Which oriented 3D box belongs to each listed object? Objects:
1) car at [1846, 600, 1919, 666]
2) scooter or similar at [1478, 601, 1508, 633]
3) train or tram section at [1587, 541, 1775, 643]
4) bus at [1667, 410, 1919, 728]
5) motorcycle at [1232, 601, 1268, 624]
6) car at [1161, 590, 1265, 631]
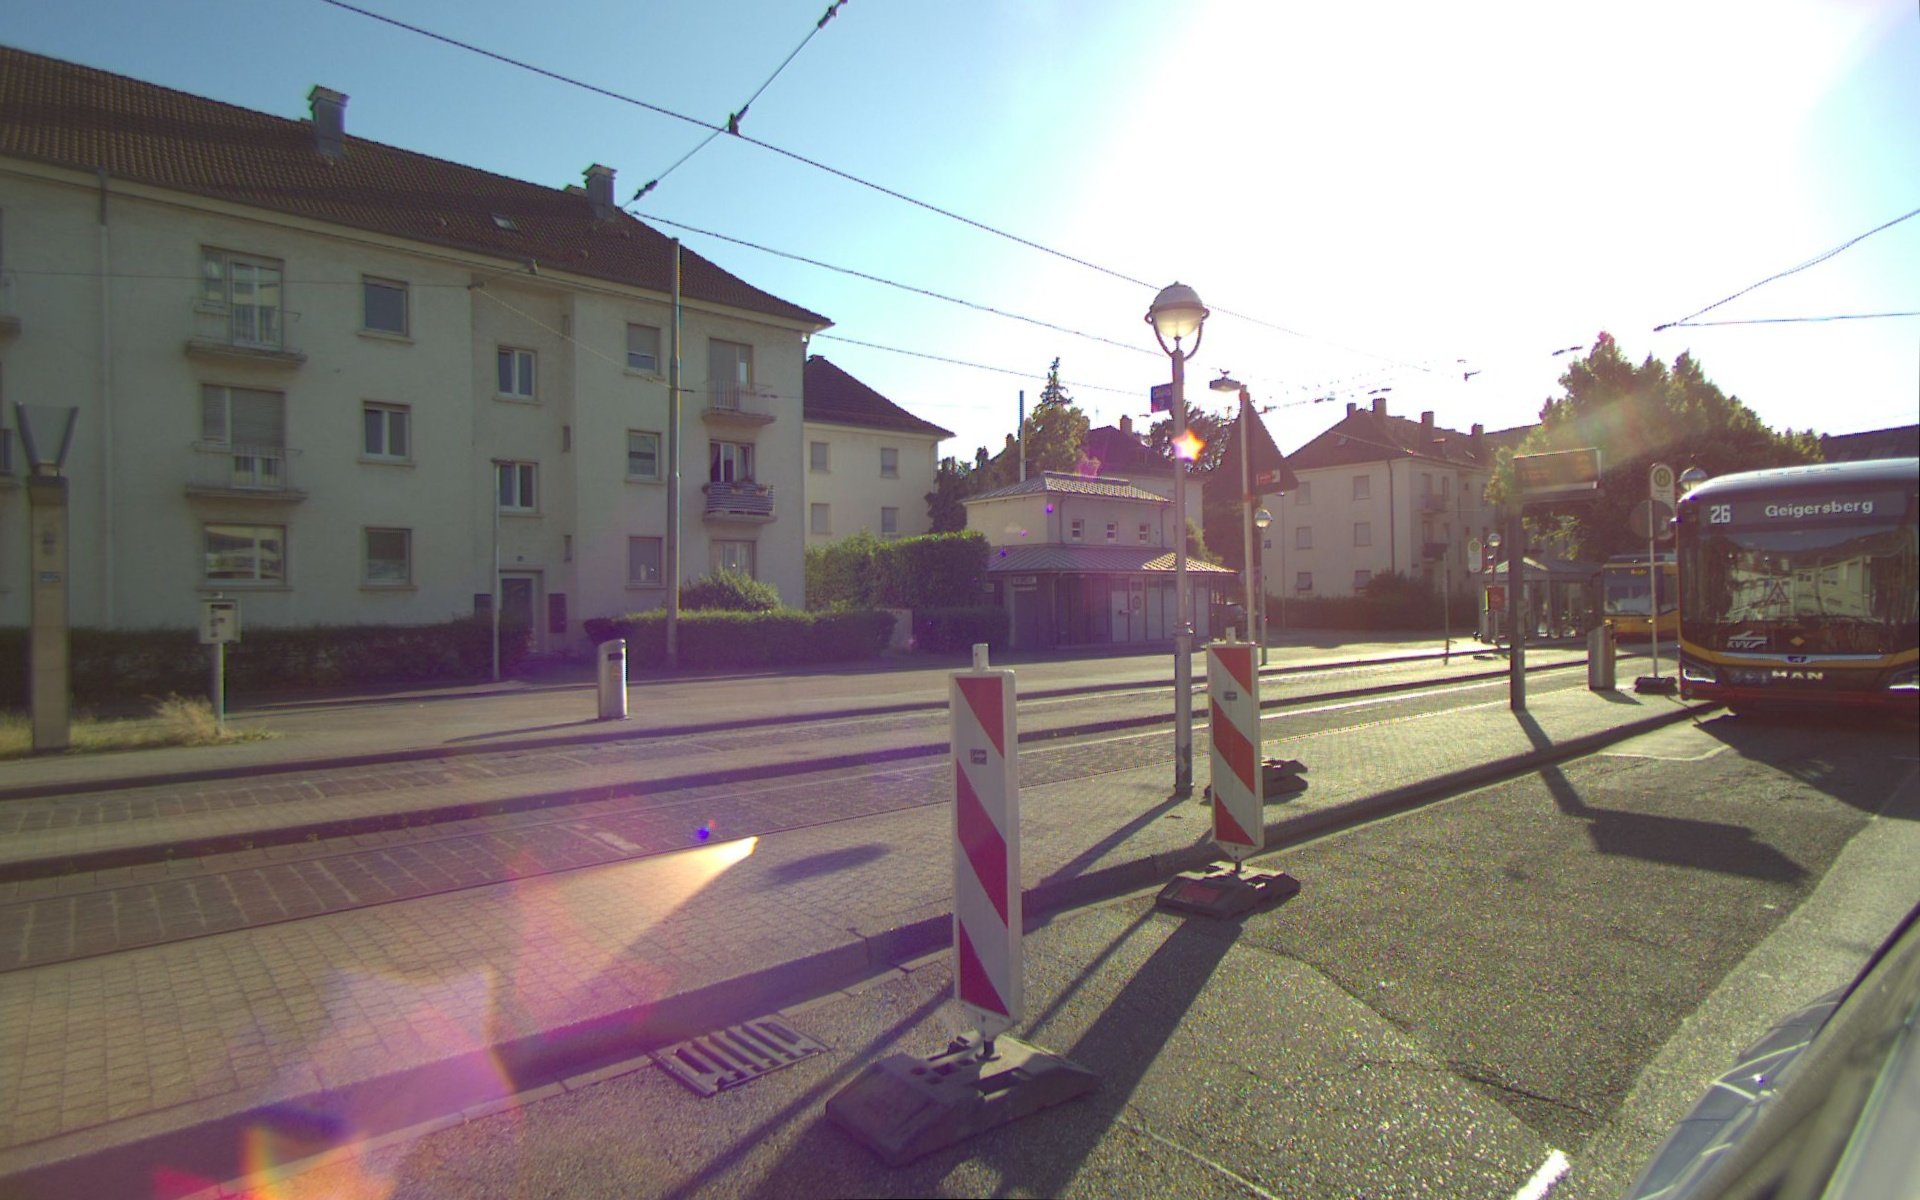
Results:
[{"bbox_3d":[26.252,0.869,28.080,3.930,1.695,1.997,0,0,-41],"label":"car"},{"bbox_3d":[20.710,0.647,39.292,1.185,1.223,0.468,-1,0,-30],"label":"scooter or similar"},{"bbox_3d":[30.080,-0.511,41.665,15.698,3.578,2.961,-2,2,-42],"label":"train or tram section"},{"bbox_3d":[14.240,-0.361,15.697,11.810,3.460,2.692,0,0,-42],"label":"bus"},{"bbox_3d":[15.749,0.673,54.960,0.549,1.177,1.823,0,0,-43],"label":"motorcycle"},{"bbox_3d":[11.634,0.436,46.861,1.963,1.791,4.451,-1,1,-37],"label":"car"}]
